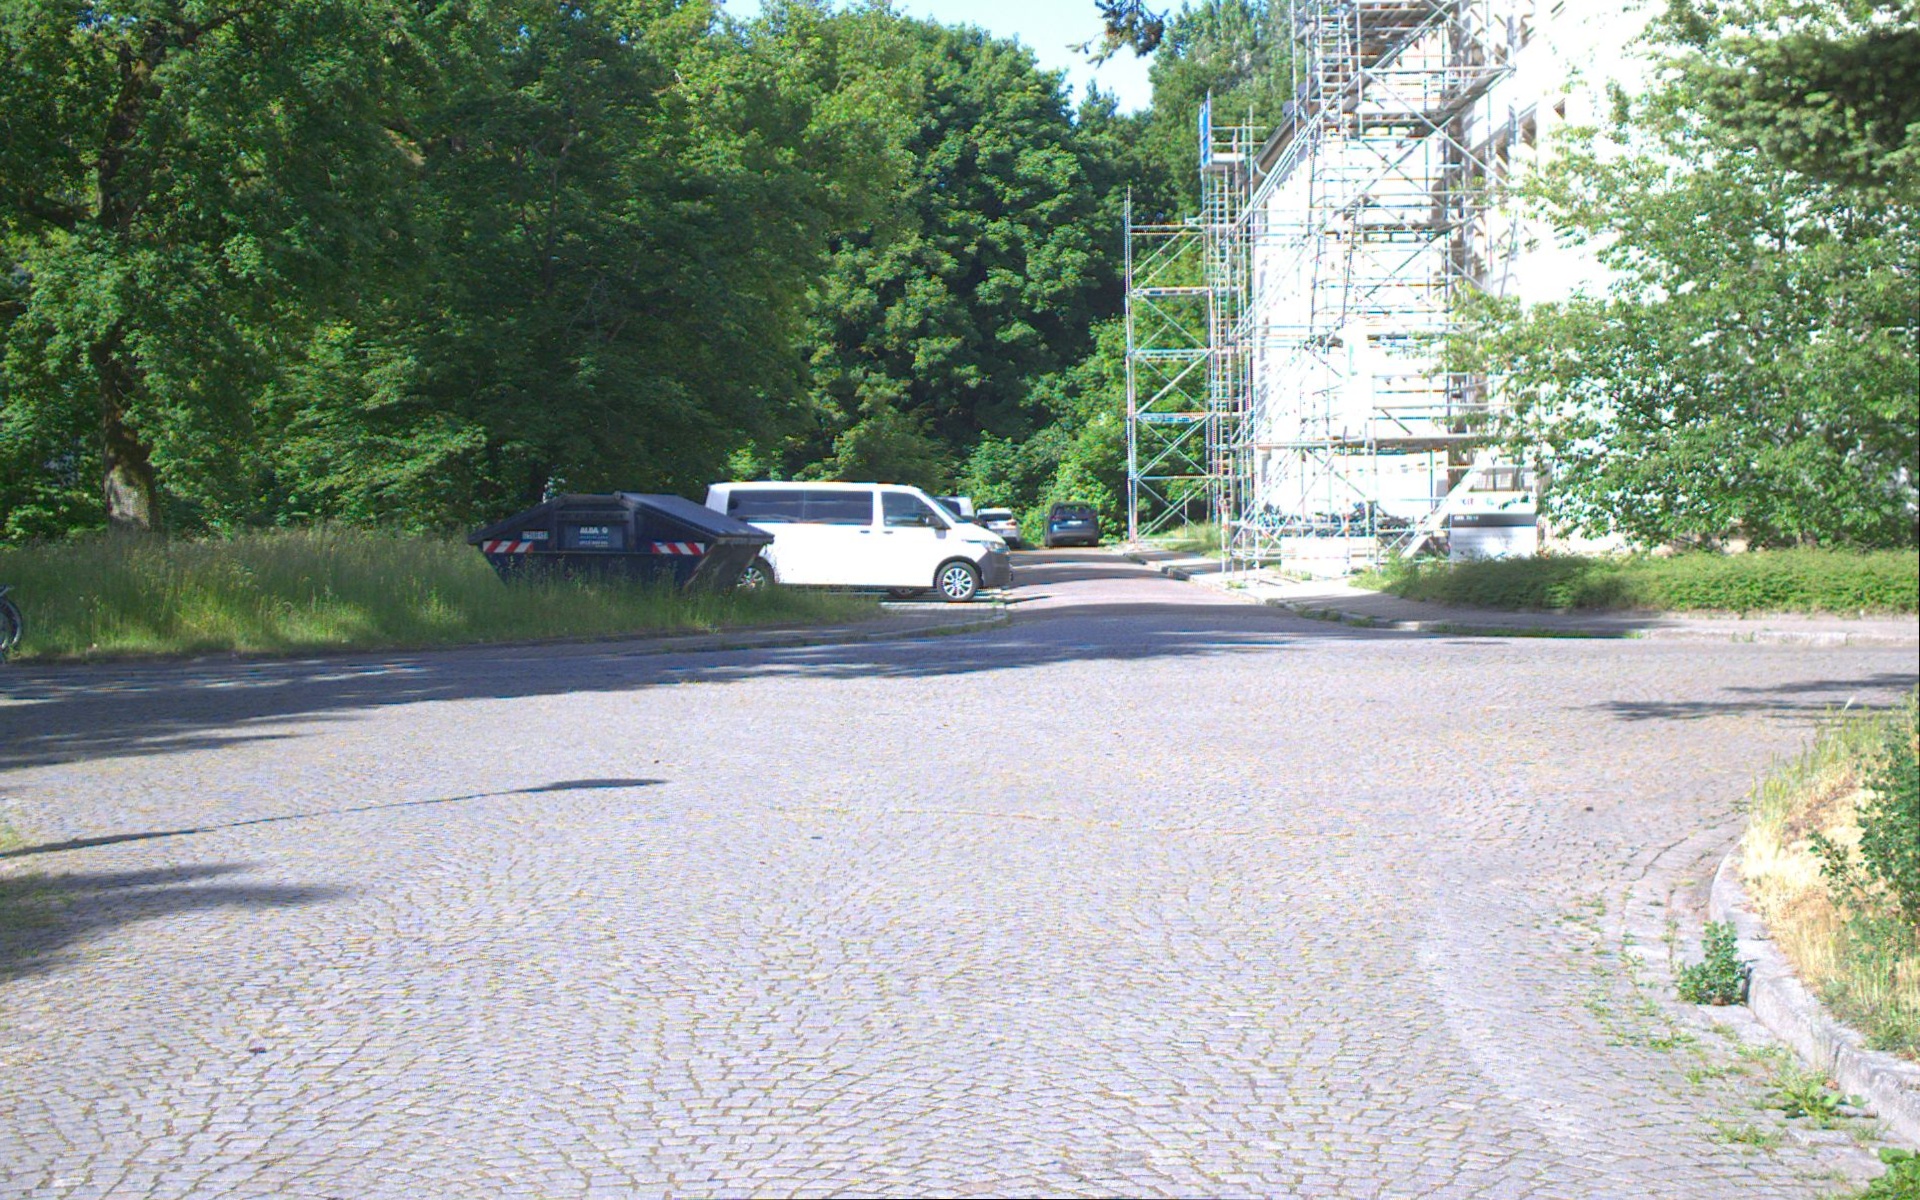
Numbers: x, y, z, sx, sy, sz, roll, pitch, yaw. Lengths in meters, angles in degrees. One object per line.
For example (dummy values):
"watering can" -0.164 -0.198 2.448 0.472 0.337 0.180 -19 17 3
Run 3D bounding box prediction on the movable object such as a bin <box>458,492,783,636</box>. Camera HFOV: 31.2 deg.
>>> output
"movable object such as a bin" -4.323 -0.465 43.955 3.569 1.738 2.023 -1 1 19

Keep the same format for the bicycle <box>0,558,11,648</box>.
"bicycle" -12.199 0.087 40.455 1.912 1.054 0.476 -3 2 -20

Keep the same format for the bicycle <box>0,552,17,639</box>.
"bicycle" -12.623 -0.007 42.225 1.912 1.054 0.476 -3 2 -20

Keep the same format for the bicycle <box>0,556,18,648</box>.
"bicycle" -11.897 0.073 39.638 1.913 1.054 0.476 -4 2 -22

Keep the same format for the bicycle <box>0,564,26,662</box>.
"bicycle" -11.179 0.192 37.285 1.913 1.054 0.476 -4 2 -28

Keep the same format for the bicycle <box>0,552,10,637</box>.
"bicycle" -12.961 -0.022 43.135 1.912 1.054 0.476 -3 2 -20

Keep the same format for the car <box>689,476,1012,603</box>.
"car" -1.778 -1.007 57.007 5.234 2.009 1.950 -1 1 0

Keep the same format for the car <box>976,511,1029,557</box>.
"car" 1.520 -2.382 122.967 1.812 1.574 4.135 -1 1 0

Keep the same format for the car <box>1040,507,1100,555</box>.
"car" 3.926 -2.489 123.230 1.971 1.662 4.086 -1 1 0

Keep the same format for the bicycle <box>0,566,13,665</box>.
"bicycle" -11.168 0.218 36.730 1.913 1.054 0.476 -4 2 -28

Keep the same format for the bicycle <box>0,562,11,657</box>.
"bicycle" -11.611 0.153 38.282 1.913 1.054 0.476 -4 2 -22

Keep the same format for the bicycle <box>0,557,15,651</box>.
"bicycle" -11.719 0.090 38.845 1.913 1.054 0.476 -4 2 -22
